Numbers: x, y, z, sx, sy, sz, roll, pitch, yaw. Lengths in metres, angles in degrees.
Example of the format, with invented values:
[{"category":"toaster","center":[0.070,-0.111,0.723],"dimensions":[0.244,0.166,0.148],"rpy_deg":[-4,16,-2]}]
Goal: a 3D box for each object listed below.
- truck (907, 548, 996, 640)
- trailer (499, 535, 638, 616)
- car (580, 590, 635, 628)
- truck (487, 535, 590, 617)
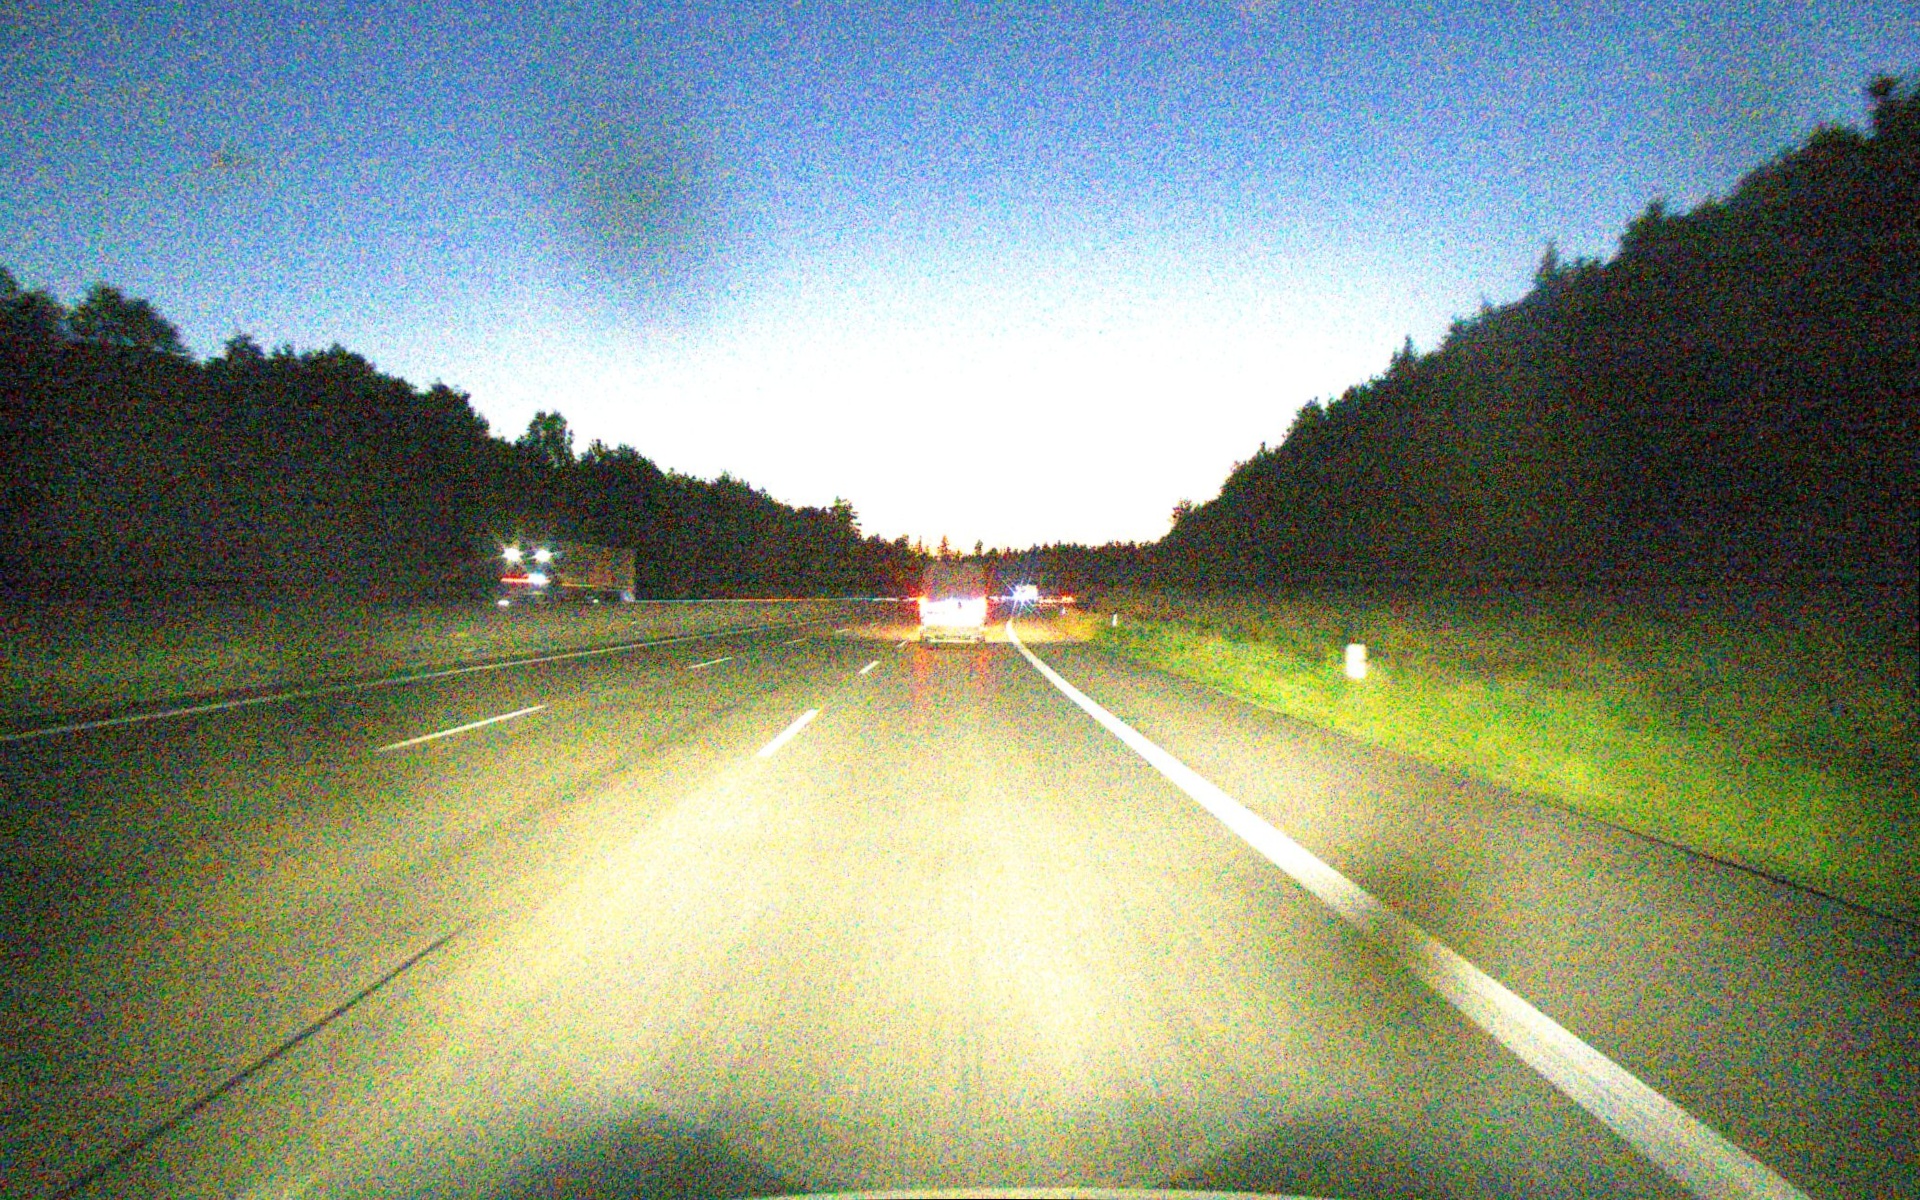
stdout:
[{"category":"truck","center":[-0.240,-0.145,53.150],"dimensions":[2.576,2.670,8.684],"rpy_deg":[1,0,0]},{"category":"trailer","center":[-21.666,-1.212,93.049],"dimensions":[3.470,4.070,17.284],"rpy_deg":[1,0,1]},{"category":"car","center":[-15.755,0.407,74.056],"dimensions":[1.710,1.674,3.741],"rpy_deg":[1,0,-1]},{"category":"truck","center":[-21.732,-1.154,85.730],"dimensions":[3.430,4.039,6.700],"rpy_deg":[1,0,1]}]
